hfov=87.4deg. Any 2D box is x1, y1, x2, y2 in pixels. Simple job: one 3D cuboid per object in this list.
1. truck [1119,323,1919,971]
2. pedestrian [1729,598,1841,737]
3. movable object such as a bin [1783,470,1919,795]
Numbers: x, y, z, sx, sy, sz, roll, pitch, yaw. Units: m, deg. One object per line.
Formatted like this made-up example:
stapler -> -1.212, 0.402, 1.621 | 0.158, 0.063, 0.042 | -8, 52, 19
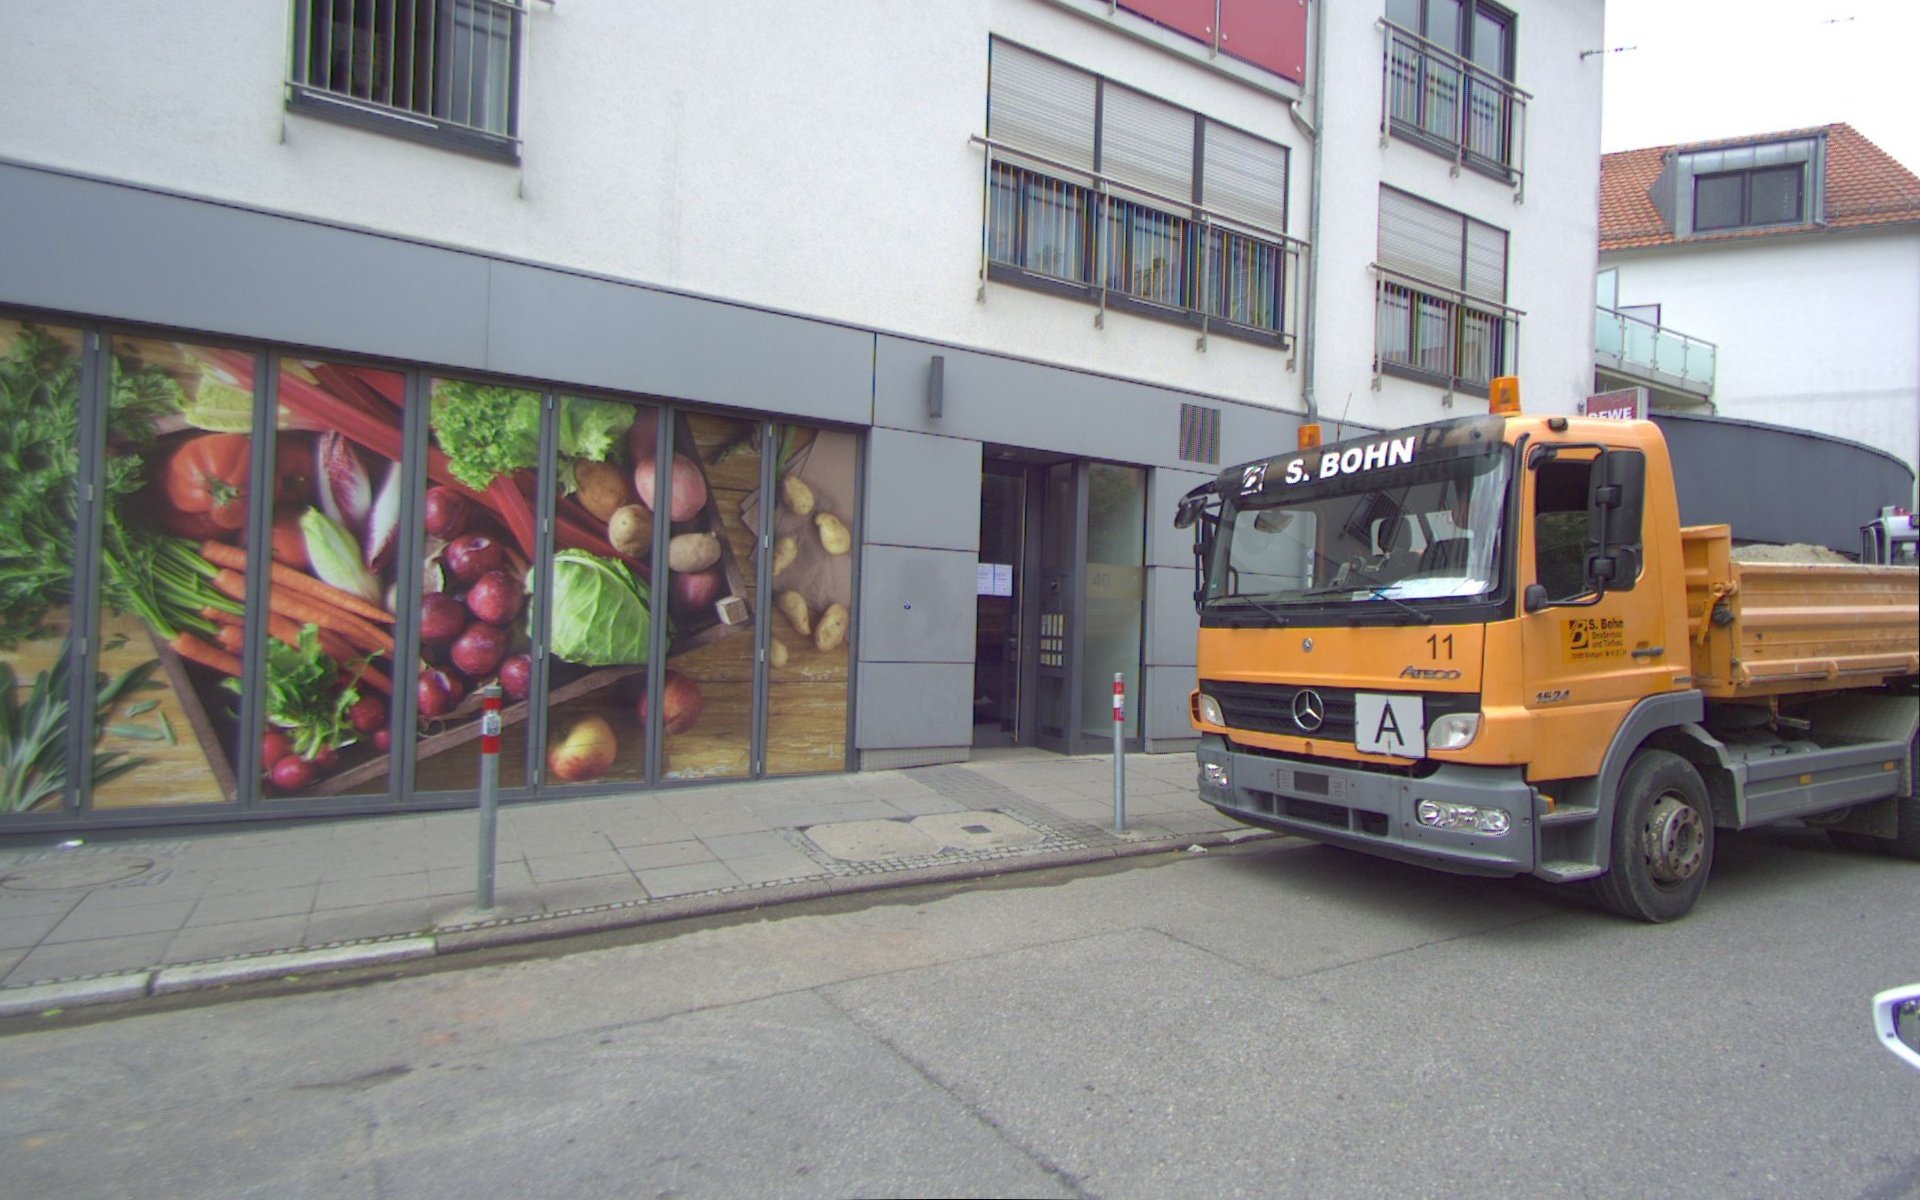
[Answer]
truck -> 4.671, 0.250, 7.068 | 6.760, 2.761, 2.721 | 1, -1, -27
pedestrian -> 10.692, 0.849, 13.038 | 0.803, 1.735, 0.831 | 1, -1, -21
movable object such as a bin -> 10.237, 0.368, 9.696 | 4.446, 2.800, 1.833 | 2, -1, -26
